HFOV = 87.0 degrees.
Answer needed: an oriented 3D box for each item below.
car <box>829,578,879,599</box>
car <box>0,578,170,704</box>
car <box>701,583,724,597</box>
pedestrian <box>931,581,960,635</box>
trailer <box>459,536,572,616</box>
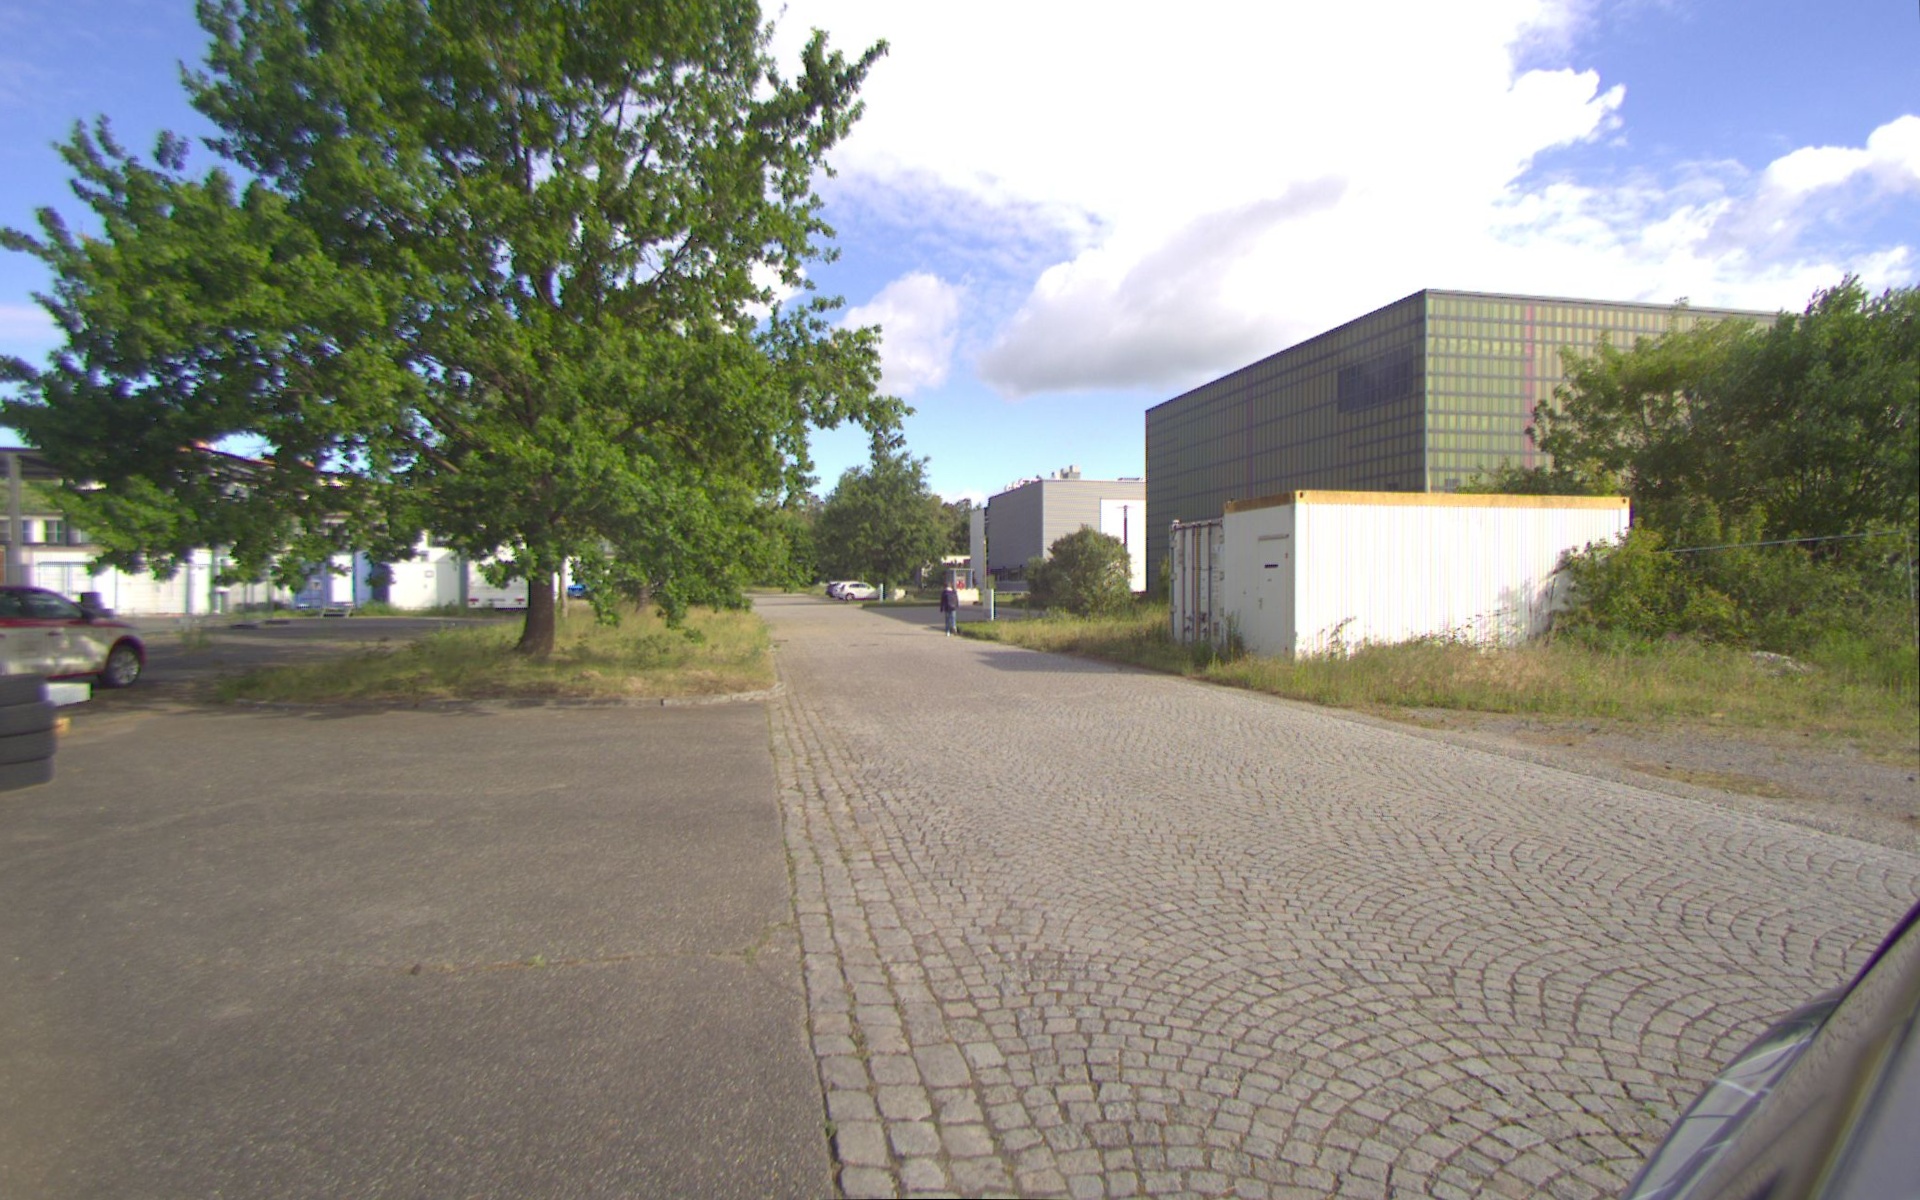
[{"bbox_3d":[-8.443,-0.898,80.900,3.919,1.663,2.003,0,1,-6],"label":"car"},{"bbox_3d":[-12.280,0.474,12.827,1.693,1.482,4.005,0,1,-5],"label":"car"},{"bbox_3d":[-24.958,-1.035,102.112,1.958,1.388,4.009,-1,1,-18],"label":"car"},{"bbox_3d":[-0.424,0.223,30.193,0.851,1.578,1.028,0,0,0],"label":"pedestrian"},{"bbox_3d":[-21.600,-1.151,49.832,2.866,3.514,9.919,0,1,-10],"label":"trailer"}]
